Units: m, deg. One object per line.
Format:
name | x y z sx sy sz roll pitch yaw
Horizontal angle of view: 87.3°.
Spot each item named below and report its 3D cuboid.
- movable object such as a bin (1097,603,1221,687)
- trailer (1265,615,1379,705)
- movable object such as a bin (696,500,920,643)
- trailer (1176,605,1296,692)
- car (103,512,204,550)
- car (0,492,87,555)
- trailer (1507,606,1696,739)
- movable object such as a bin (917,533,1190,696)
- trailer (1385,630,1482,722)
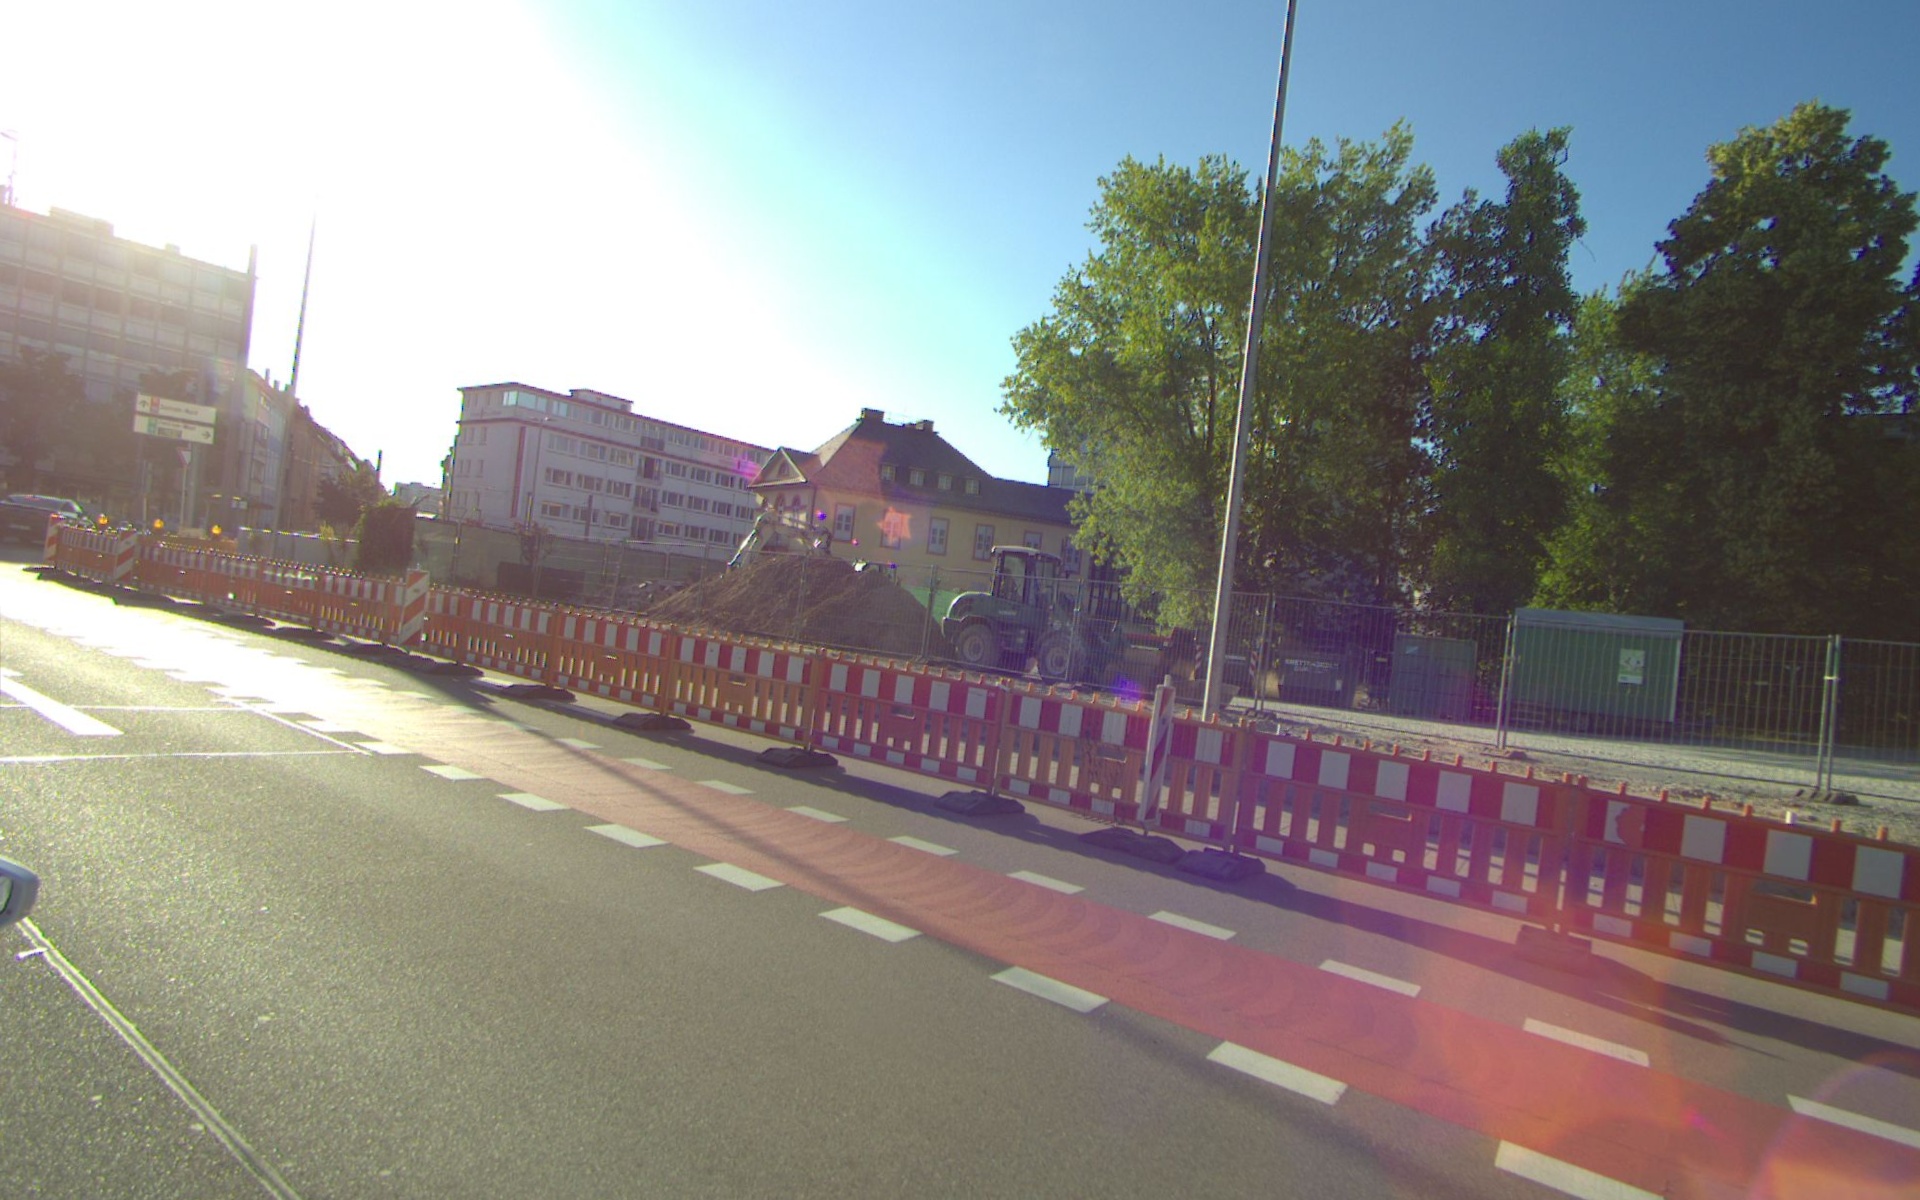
movable object such as a bin | 6.239 1.437 31.041 2.188 2.349 5.037 1 -3 30
trailer | 10.551 1.737 29.044 2.188 2.349 5.037 1 -3 30
movable object such as a bin | -4.732 -0.814 31.567 6.016 3.601 2.839 7 0 -31
trailer | 8.323 1.481 29.957 2.188 2.349 5.037 1 -3 30
car | -48.898 -4.165 61.064 1.969 1.616 4.332 7 0 35
car | -30.982 -2.578 33.667 1.982 1.713 3.963 9 -1 -34
trailer | 16.487 1.823 26.115 3.922 3.127 2.612 1 -3 31
movable object such as a bin | 1.873 0.264 20.726 4.863 2.737 2.277 7 0 34
trailer | 13.338 2.105 28.245 2.188 2.350 2.950 1 -3 30
